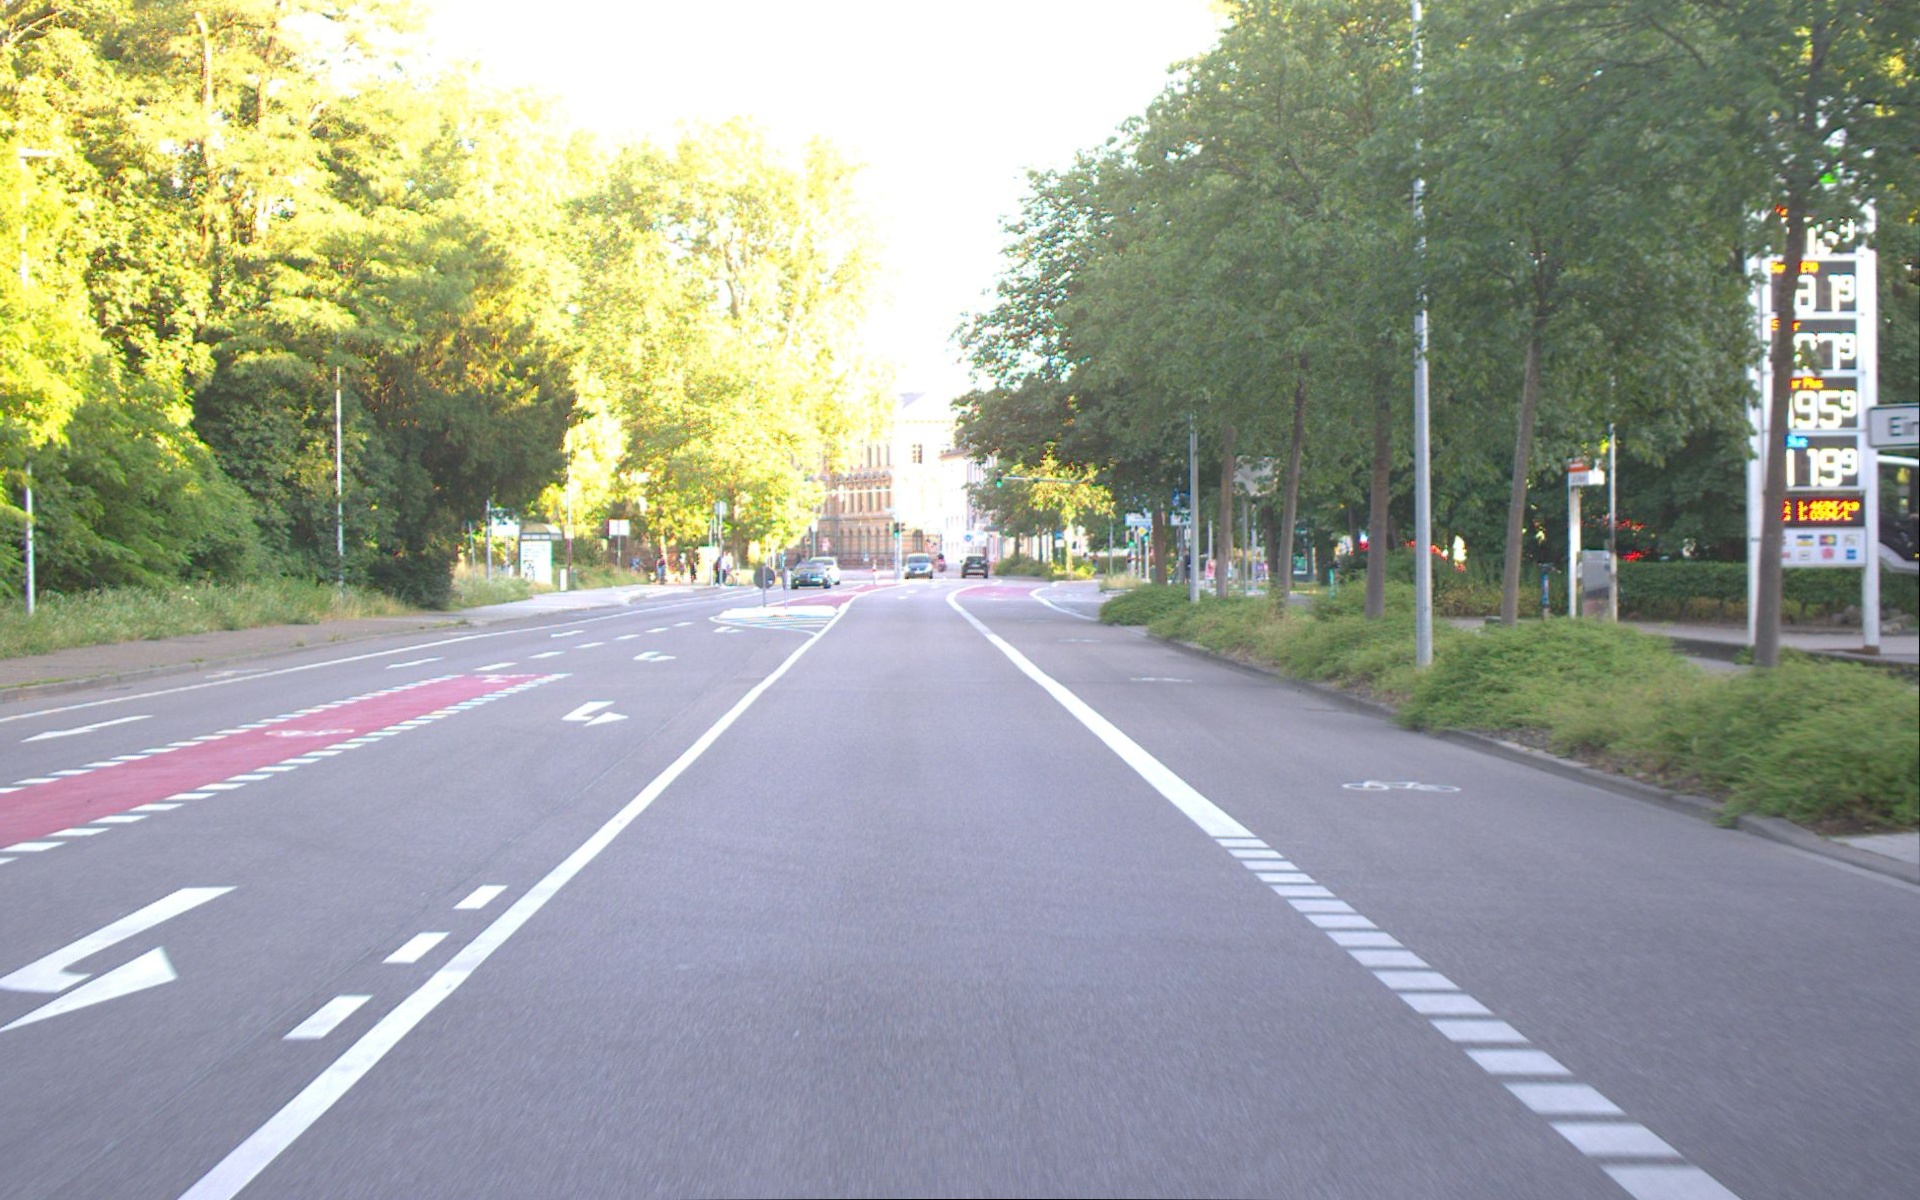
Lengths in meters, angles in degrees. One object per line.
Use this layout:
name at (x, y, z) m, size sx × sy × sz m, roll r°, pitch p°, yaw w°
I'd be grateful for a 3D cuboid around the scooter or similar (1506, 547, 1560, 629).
scooter or similar at (9.016, -0.196, 54.106) m, size 0.597 × 1.278 × 1.469 m, roll 0°, pitch 1°, yaw 0°

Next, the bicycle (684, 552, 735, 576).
bicycle at (-12.665, -1.842, 174.092) m, size 2.463 × 1.191 × 0.757 m, roll 0°, pitch 1°, yaw 9°

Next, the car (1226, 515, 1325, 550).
car at (14.340, -3.059, 156.185) m, size 4.460 × 1.585 × 1.715 m, roll 0°, pitch 1°, yaw 7°

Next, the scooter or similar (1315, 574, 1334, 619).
scooter or similar at (8.644, -0.091, 81.505) m, size 0.310 × 1.038 × 0.980 m, roll -1°, pitch 1°, yaw 0°

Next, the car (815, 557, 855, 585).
car at (-6.452, -1.503, 178.298) m, size 1.798 × 1.448 × 4.127 m, roll 0°, pitch 1°, yaw 2°

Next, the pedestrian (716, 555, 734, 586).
pedestrian at (-12.347, -1.556, 180.676) m, size 0.791 × 1.575 × 0.745 m, roll 1°, pitch 1°, yaw 9°

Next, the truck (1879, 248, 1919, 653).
truck at (14.542, -1.957, 43.631) m, size 3.032 × 5.437 × 8.411 m, roll 0°, pitch 1°, yaw -4°

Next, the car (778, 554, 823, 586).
car at (-7.410, -1.399, 160.064) m, size 1.798 × 1.448 × 4.127 m, roll 0°, pitch 1°, yaw 2°

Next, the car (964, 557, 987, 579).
car at (1.028, -2.140, 230.224) m, size 1.493 × 1.481 × 3.491 m, roll 0°, pitch 1°, yaw 0°

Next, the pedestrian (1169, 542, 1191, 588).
pedestrian at (8.443, -1.340, 131.807) m, size 0.769 × 1.734 × 0.731 m, roll 0°, pitch 1°, yaw 0°

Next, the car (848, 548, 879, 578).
car at (-4.891, -1.889, 174.796) m, size 1.493 × 1.481 × 3.491 m, roll 0°, pitch 1°, yaw 0°

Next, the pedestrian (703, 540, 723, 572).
pedestrian at (-12.504, -2.237, 174.054) m, size 0.791 × 1.575 × 0.745 m, roll 1°, pitch 1°, yaw 9°

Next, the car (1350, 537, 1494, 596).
car at (16.055, -1.167, 119.630) m, size 4.912 × 1.983 × 1.921 m, roll 0°, pitch 1°, yaw 7°

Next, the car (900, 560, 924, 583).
car at (-3.072, -1.831, 220.343) m, size 1.493 × 1.481 × 3.491 m, roll 0°, pitch 1°, yaw 0°
